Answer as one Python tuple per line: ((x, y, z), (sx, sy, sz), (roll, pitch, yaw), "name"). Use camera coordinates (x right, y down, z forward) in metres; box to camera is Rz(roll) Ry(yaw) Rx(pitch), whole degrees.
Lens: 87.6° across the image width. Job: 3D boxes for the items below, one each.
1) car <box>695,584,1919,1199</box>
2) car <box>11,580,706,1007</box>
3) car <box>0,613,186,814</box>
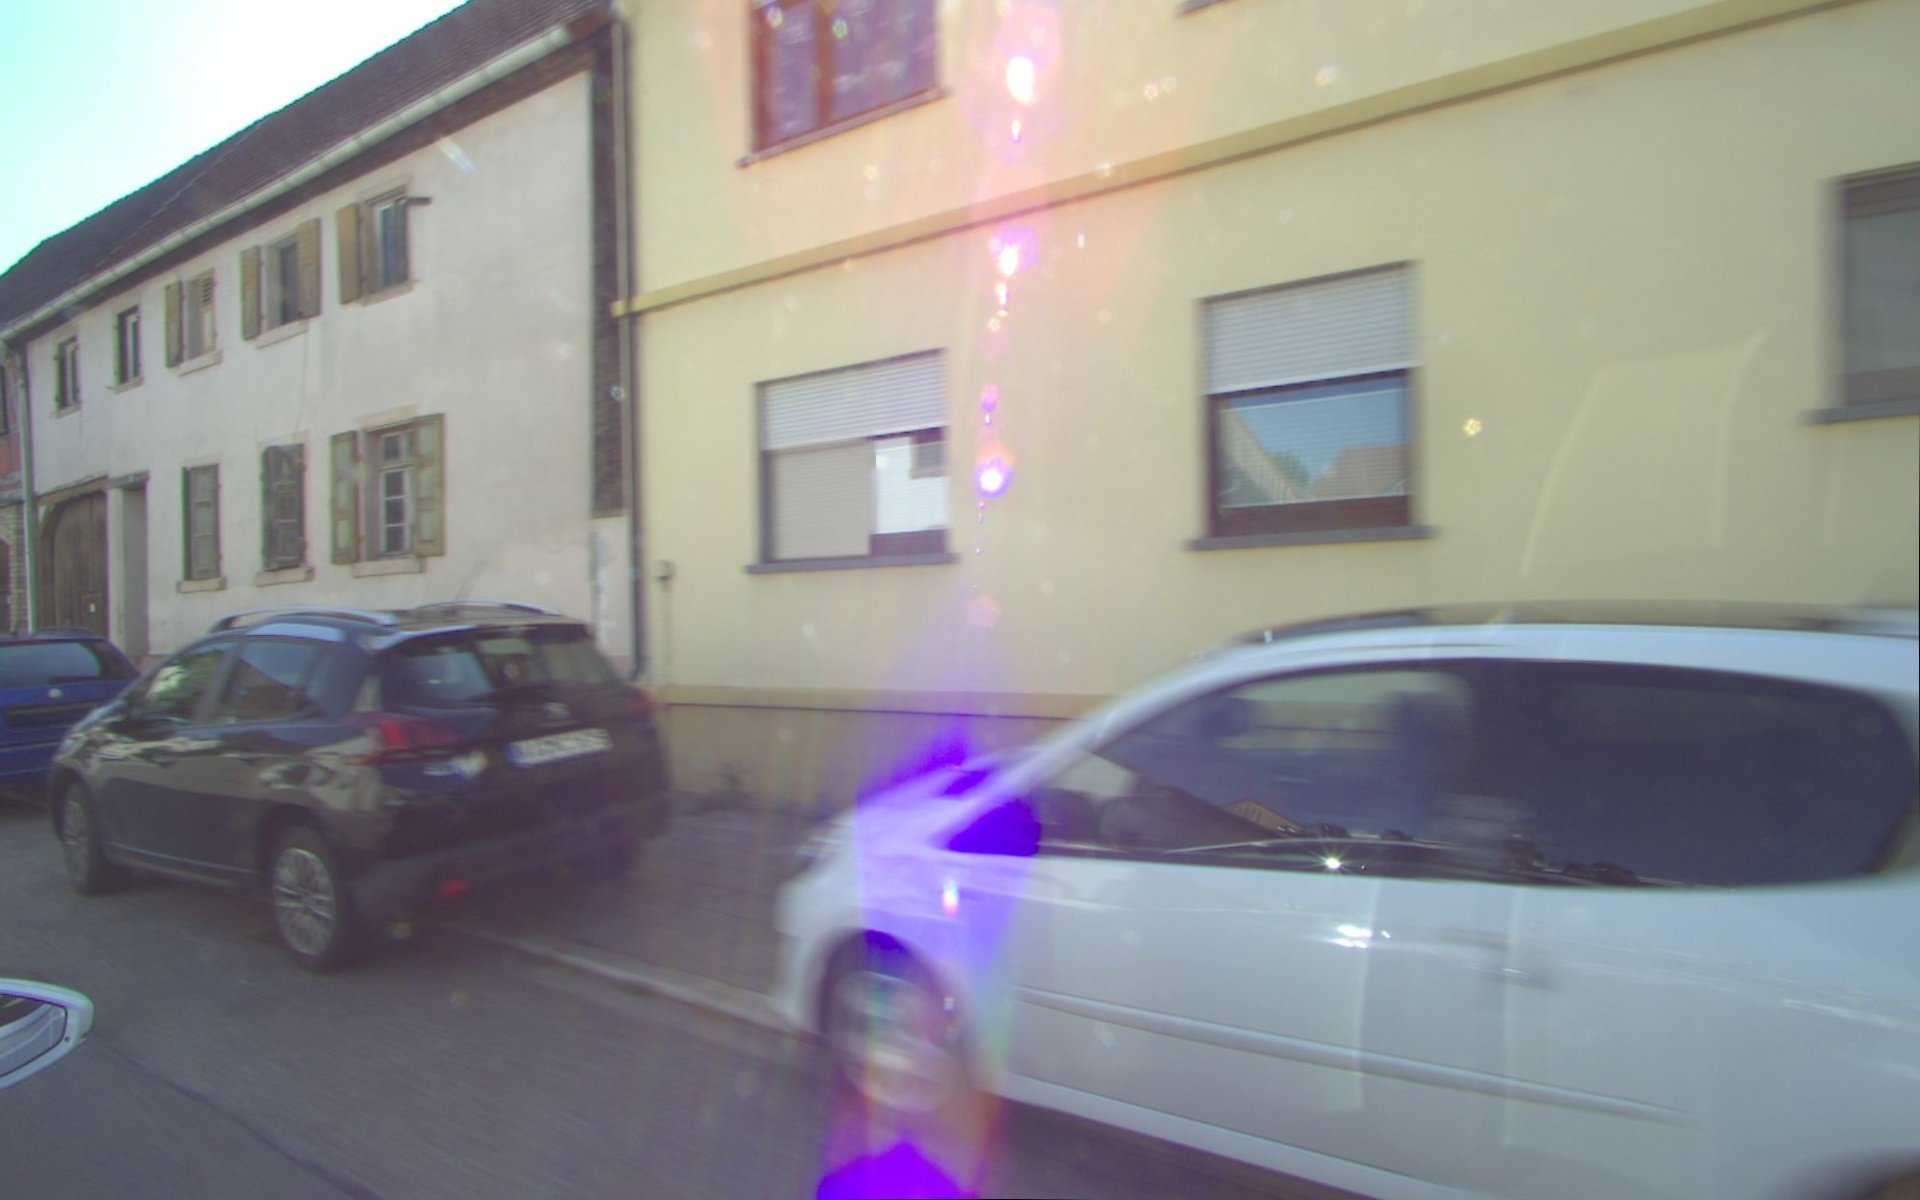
((1.095, 0.724, 2.876), (3.670, 1.457, 1.546), (-1, 1, 34), "car")
((-3.452, 0.754, 5.549), (3.971, 1.605, 1.695), (-1, 1, 33), "car")
((-8.950, 0.914, 9.036), (4.347, 1.489, 1.695), (-1, 1, 32), "car")
